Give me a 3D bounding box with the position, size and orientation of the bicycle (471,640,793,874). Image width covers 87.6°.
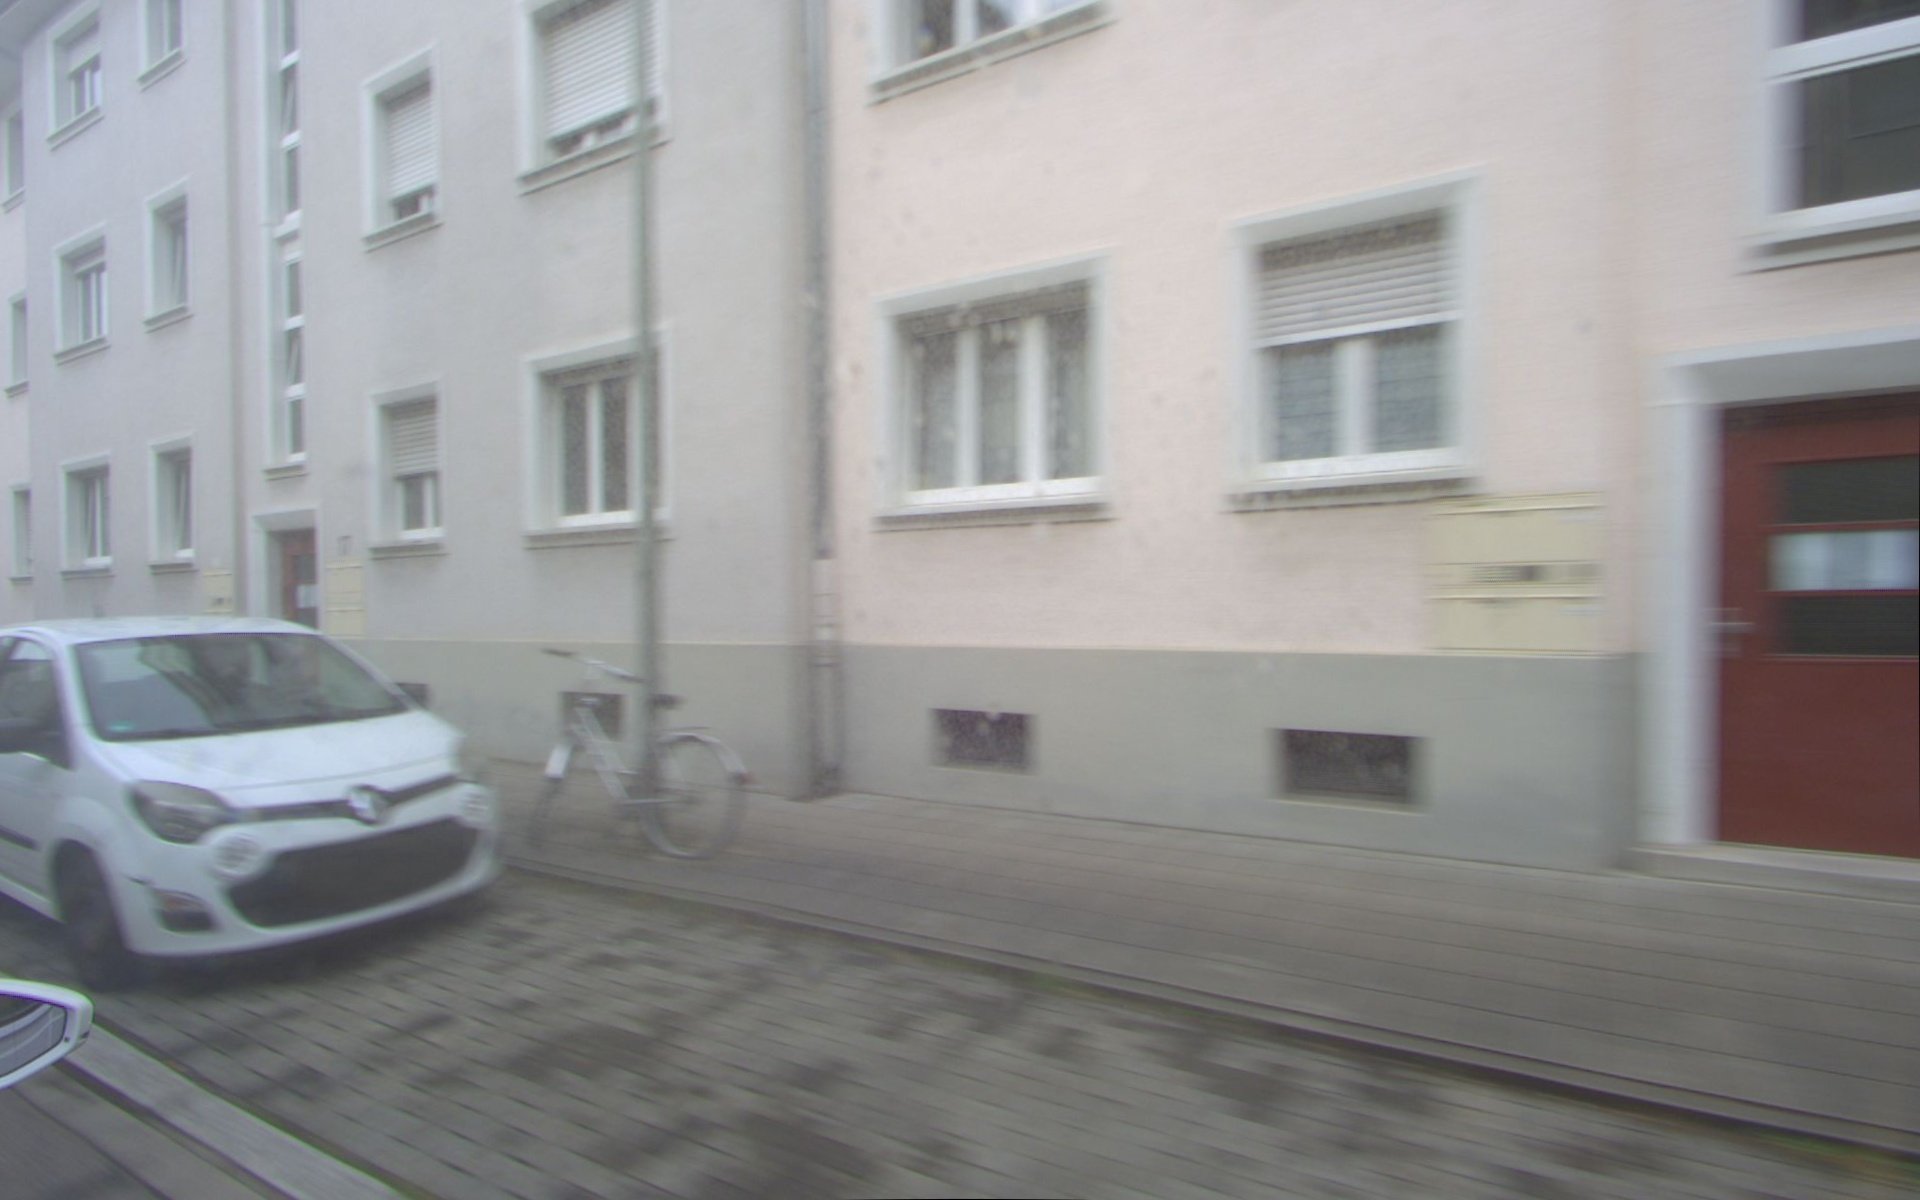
[{"bbox_3d":[-2.002,0.841,5.975,2.094,1.155,0.604,0,1,32],"label":"bicycle"}]

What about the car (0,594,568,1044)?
[{"bbox_3d":[-4.058,0.797,5.384,3.751,1.620,1.779,0,1,33],"label":"car"}]
